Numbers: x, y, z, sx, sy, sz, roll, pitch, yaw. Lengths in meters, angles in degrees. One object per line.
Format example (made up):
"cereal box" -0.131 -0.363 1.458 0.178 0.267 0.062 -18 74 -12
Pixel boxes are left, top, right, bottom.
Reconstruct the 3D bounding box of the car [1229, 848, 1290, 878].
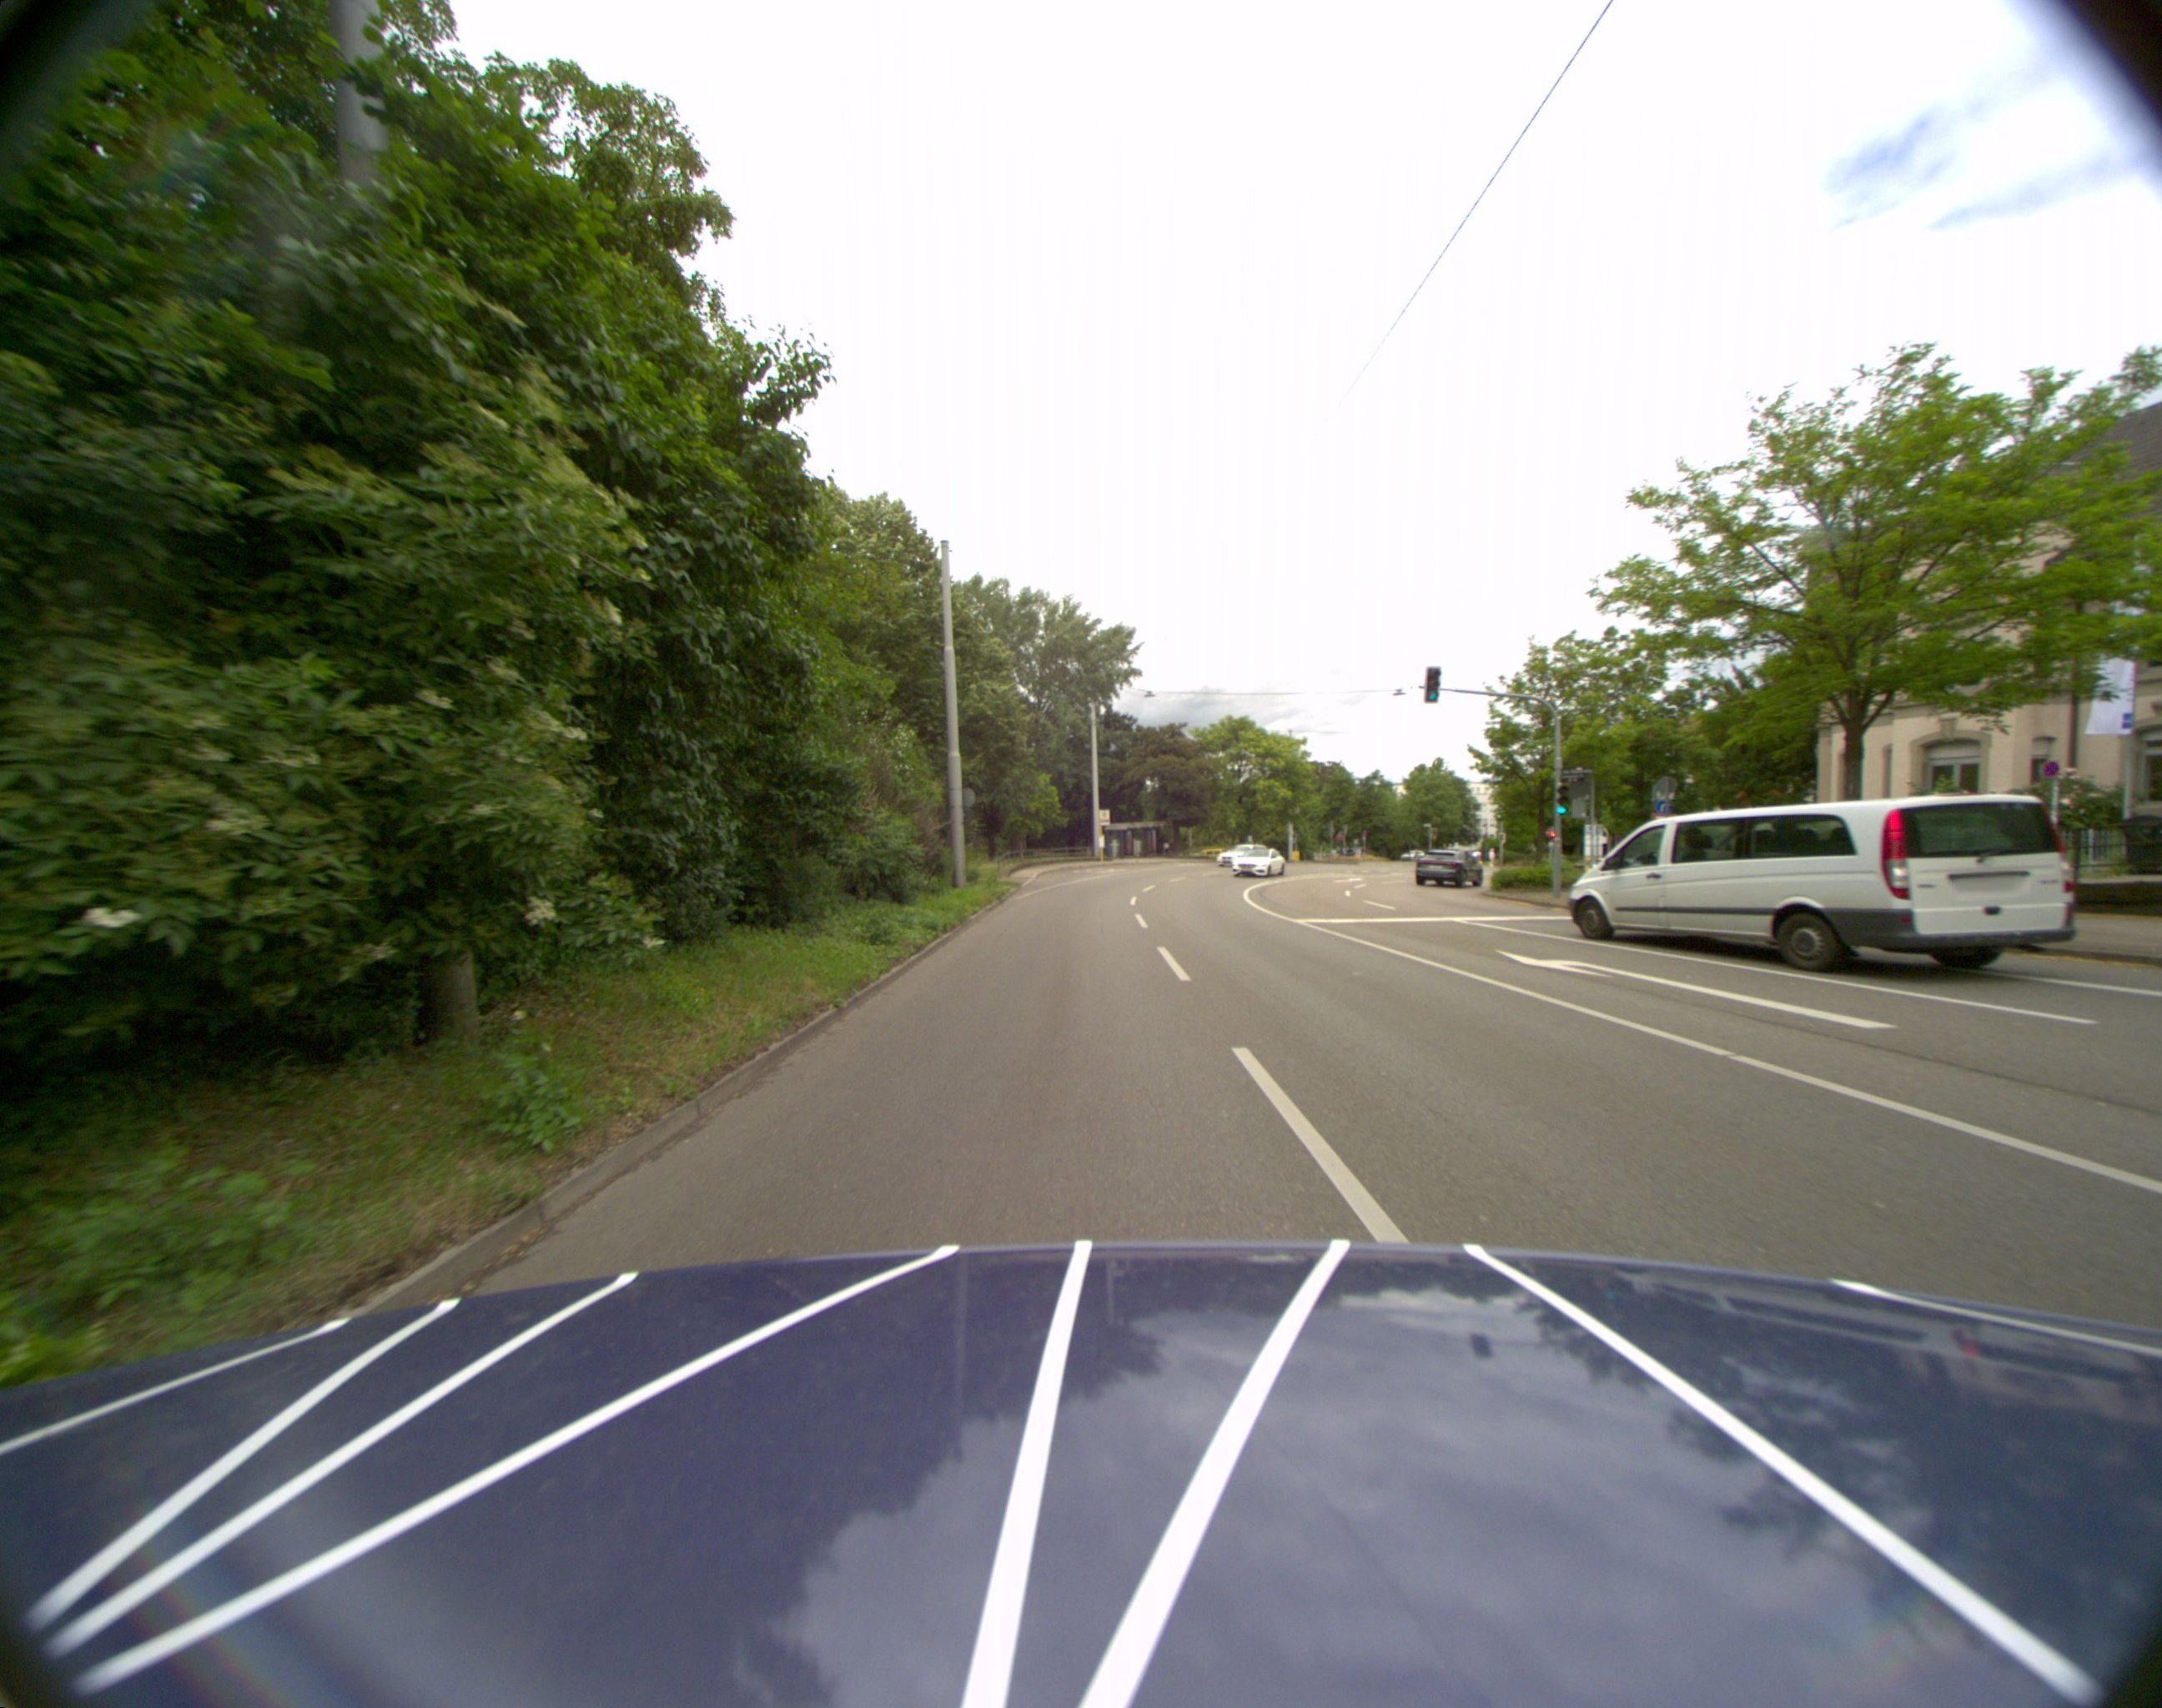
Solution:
"car" 9.244 0.417 39.099 1.994 1.390 4.237 2 2 28

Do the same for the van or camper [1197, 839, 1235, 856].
"van or camper" 17.497 -0.825 98.629 1.893 1.967 4.456 -2 4 -43

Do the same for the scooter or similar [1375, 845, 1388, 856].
"scooter or similar" 33.448 -0.415 84.542 1.317 1.241 0.464 2 1 11

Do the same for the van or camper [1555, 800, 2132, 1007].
"van or camper" 8.880 0.456 9.875 1.999 1.884 5.456 -2 0 0

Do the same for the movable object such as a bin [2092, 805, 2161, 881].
"movable object such as a bin" 25.122 -0.277 17.848 1.217 1.674 0.997 -5 0 16

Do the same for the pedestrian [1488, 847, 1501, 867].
"pedestrian" 37.110 0.267 68.174 0.727 1.704 0.616 2 5 -7

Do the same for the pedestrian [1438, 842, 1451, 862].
"pedestrian" 34.501 -0.154 72.129 0.856 1.875 0.965 2 1 7

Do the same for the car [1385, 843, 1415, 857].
"car" 46.576 -0.583 110.955 4.724 1.893 1.994 1 1 -39

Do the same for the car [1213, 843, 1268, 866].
"car" 10.579 0.008 50.305 1.892 1.455 4.009 0 0 40

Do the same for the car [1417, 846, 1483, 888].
"car" 17.219 0.575 35.338 1.896 1.781 4.769 2 1 36

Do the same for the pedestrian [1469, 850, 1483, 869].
"pedestrian" 35.335 0.491 67.990 0.727 1.704 0.616 2 5 -7

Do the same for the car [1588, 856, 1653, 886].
"car" 32.317 1.005 45.497 4.384 1.644 1.896 1 1 -37
